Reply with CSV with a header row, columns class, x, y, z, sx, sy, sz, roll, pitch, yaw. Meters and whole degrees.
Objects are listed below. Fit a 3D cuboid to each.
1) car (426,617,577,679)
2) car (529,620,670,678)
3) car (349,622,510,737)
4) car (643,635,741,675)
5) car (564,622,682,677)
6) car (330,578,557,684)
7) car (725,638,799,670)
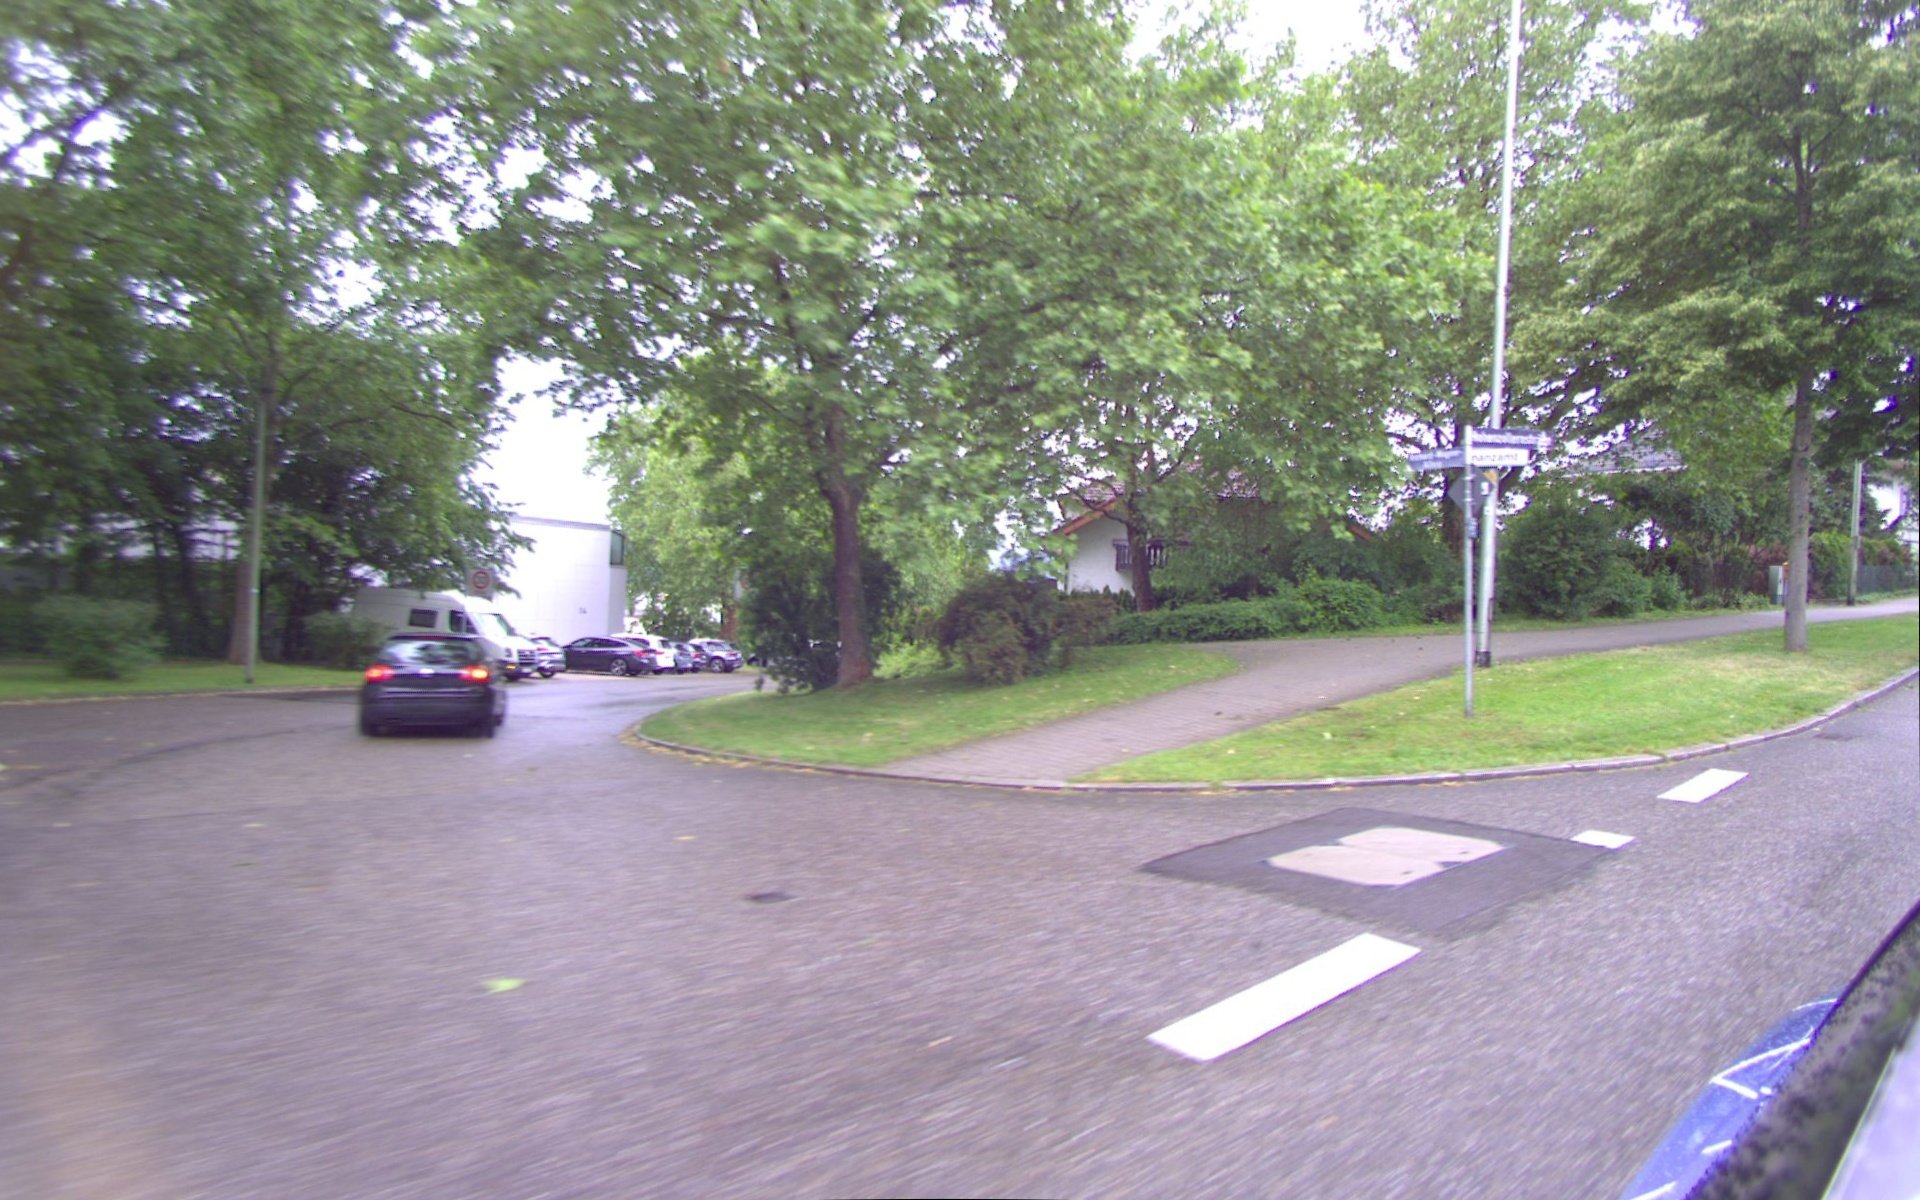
class,x,y,z,sx,sy,sz,roll,pitch,yaw
car,-15.663,1.642,34.699,4.233,1.714,1.938,5,-3,8
car,-14.316,1.952,40.384,4.626,1.863,2.354,5,-3,3
car,-7.812,1.173,15.245,1.691,1.483,4.005,3,-4,-22
car,-13.426,2.748,50.822,4.231,1.863,2.352,0,0,8
car,-14.342,2.070,43.237,4.233,1.862,2.083,5,1,8
car,-16.170,0.913,31.820,6.050,2.707,2.350,5,0,10
car,-12.732,3.462,65.255,4.231,1.863,2.352,0,0,8
